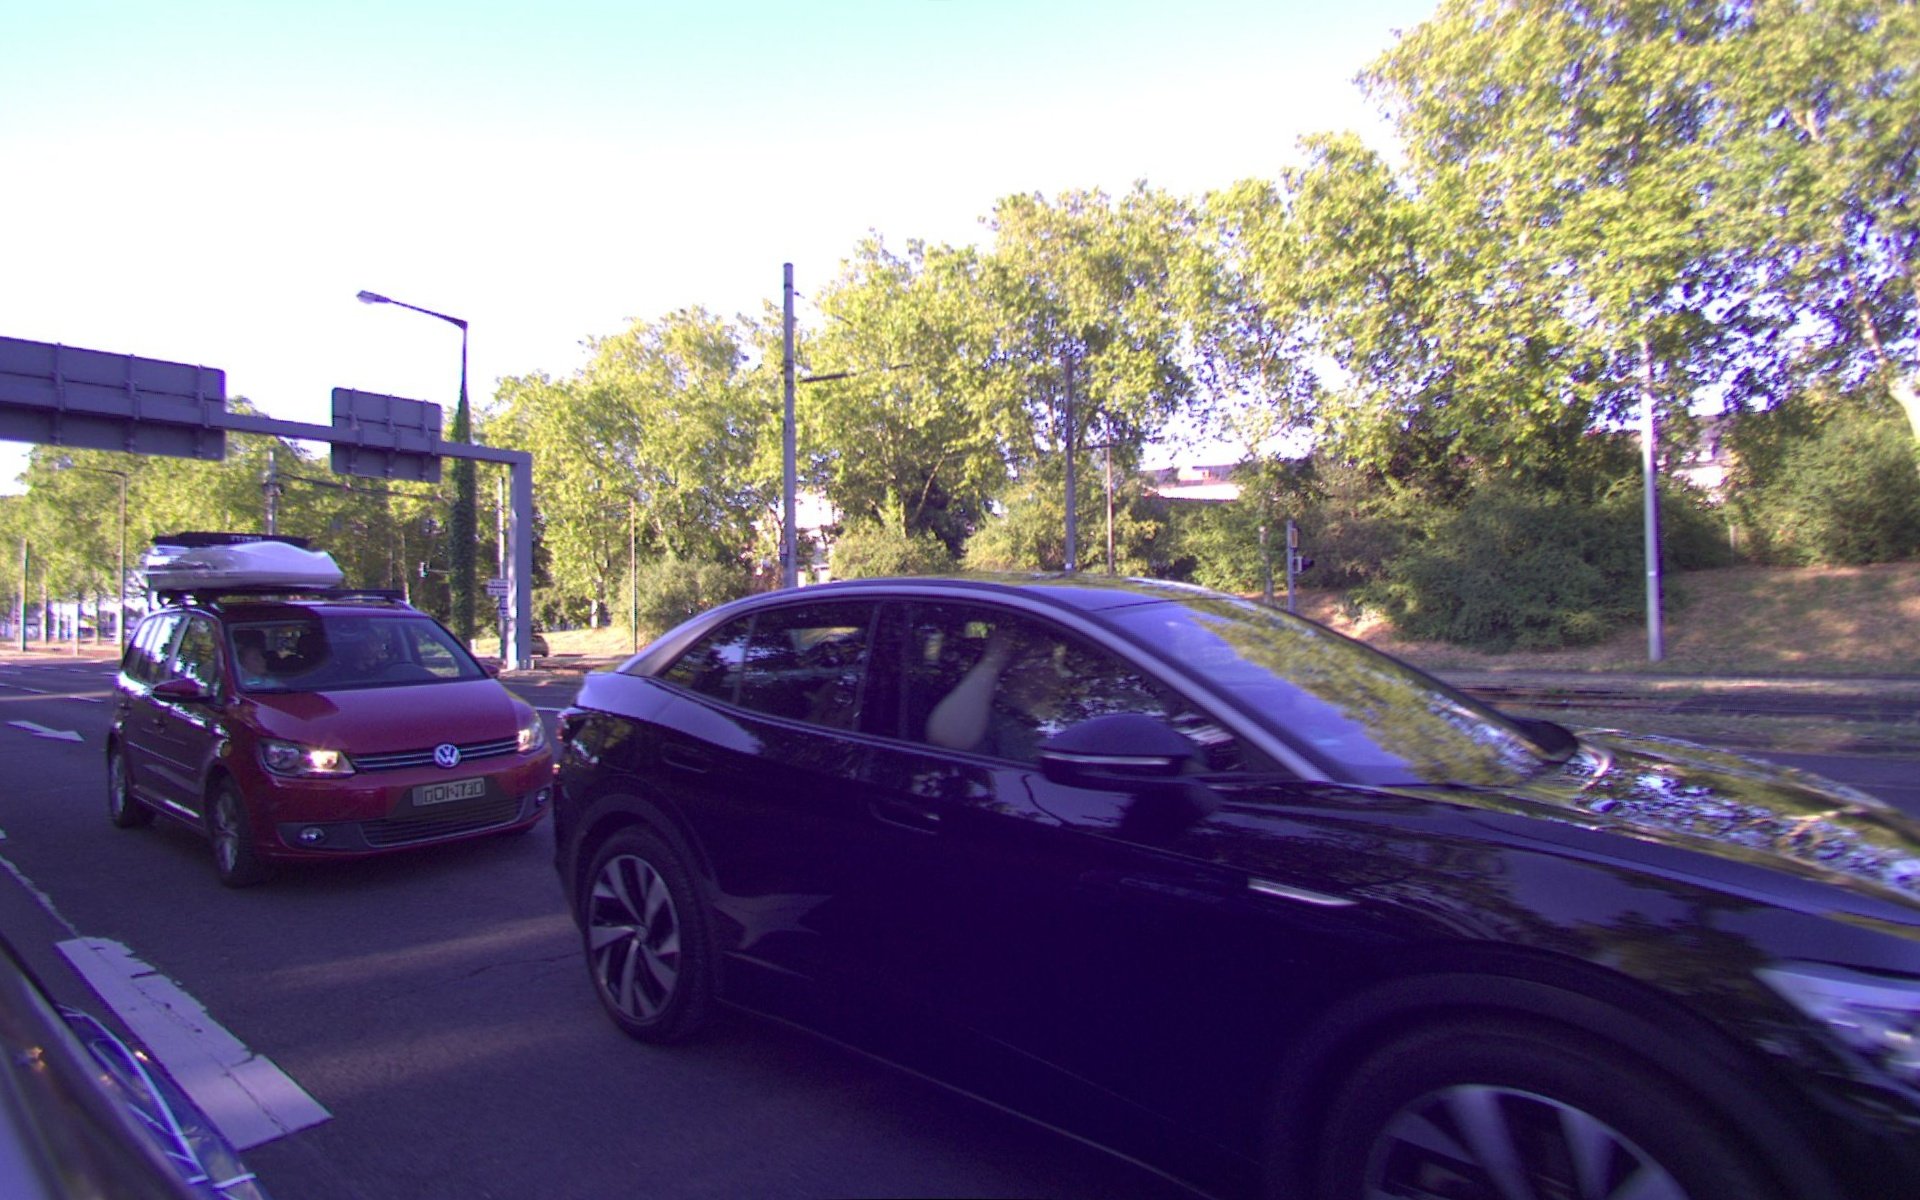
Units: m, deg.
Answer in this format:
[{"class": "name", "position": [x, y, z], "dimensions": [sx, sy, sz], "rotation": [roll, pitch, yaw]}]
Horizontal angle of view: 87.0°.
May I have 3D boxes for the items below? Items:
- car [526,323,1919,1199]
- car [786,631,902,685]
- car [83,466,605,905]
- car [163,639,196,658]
[{"class": "car", "position": [0.576, 0.616, 3.112], "dimensions": [4.237, 1.763, 1.774], "rotation": [-3, -5, 40]}, {"class": "car", "position": [-4.601, 2.301, 39.895], "dimensions": [4.505, 2.029, 1.901], "rotation": [-3, -5, 37]}, {"class": "car", "position": [-4.319, 0.526, 6.874], "dimensions": [3.996, 2.121, 1.774], "rotation": [-3, -5, 40]}, {"class": "car", "position": [-86.136, 5.379, 111.653], "dimensions": [4.188, 2.082, 1.973], "rotation": [-3, -4, 41]}]
